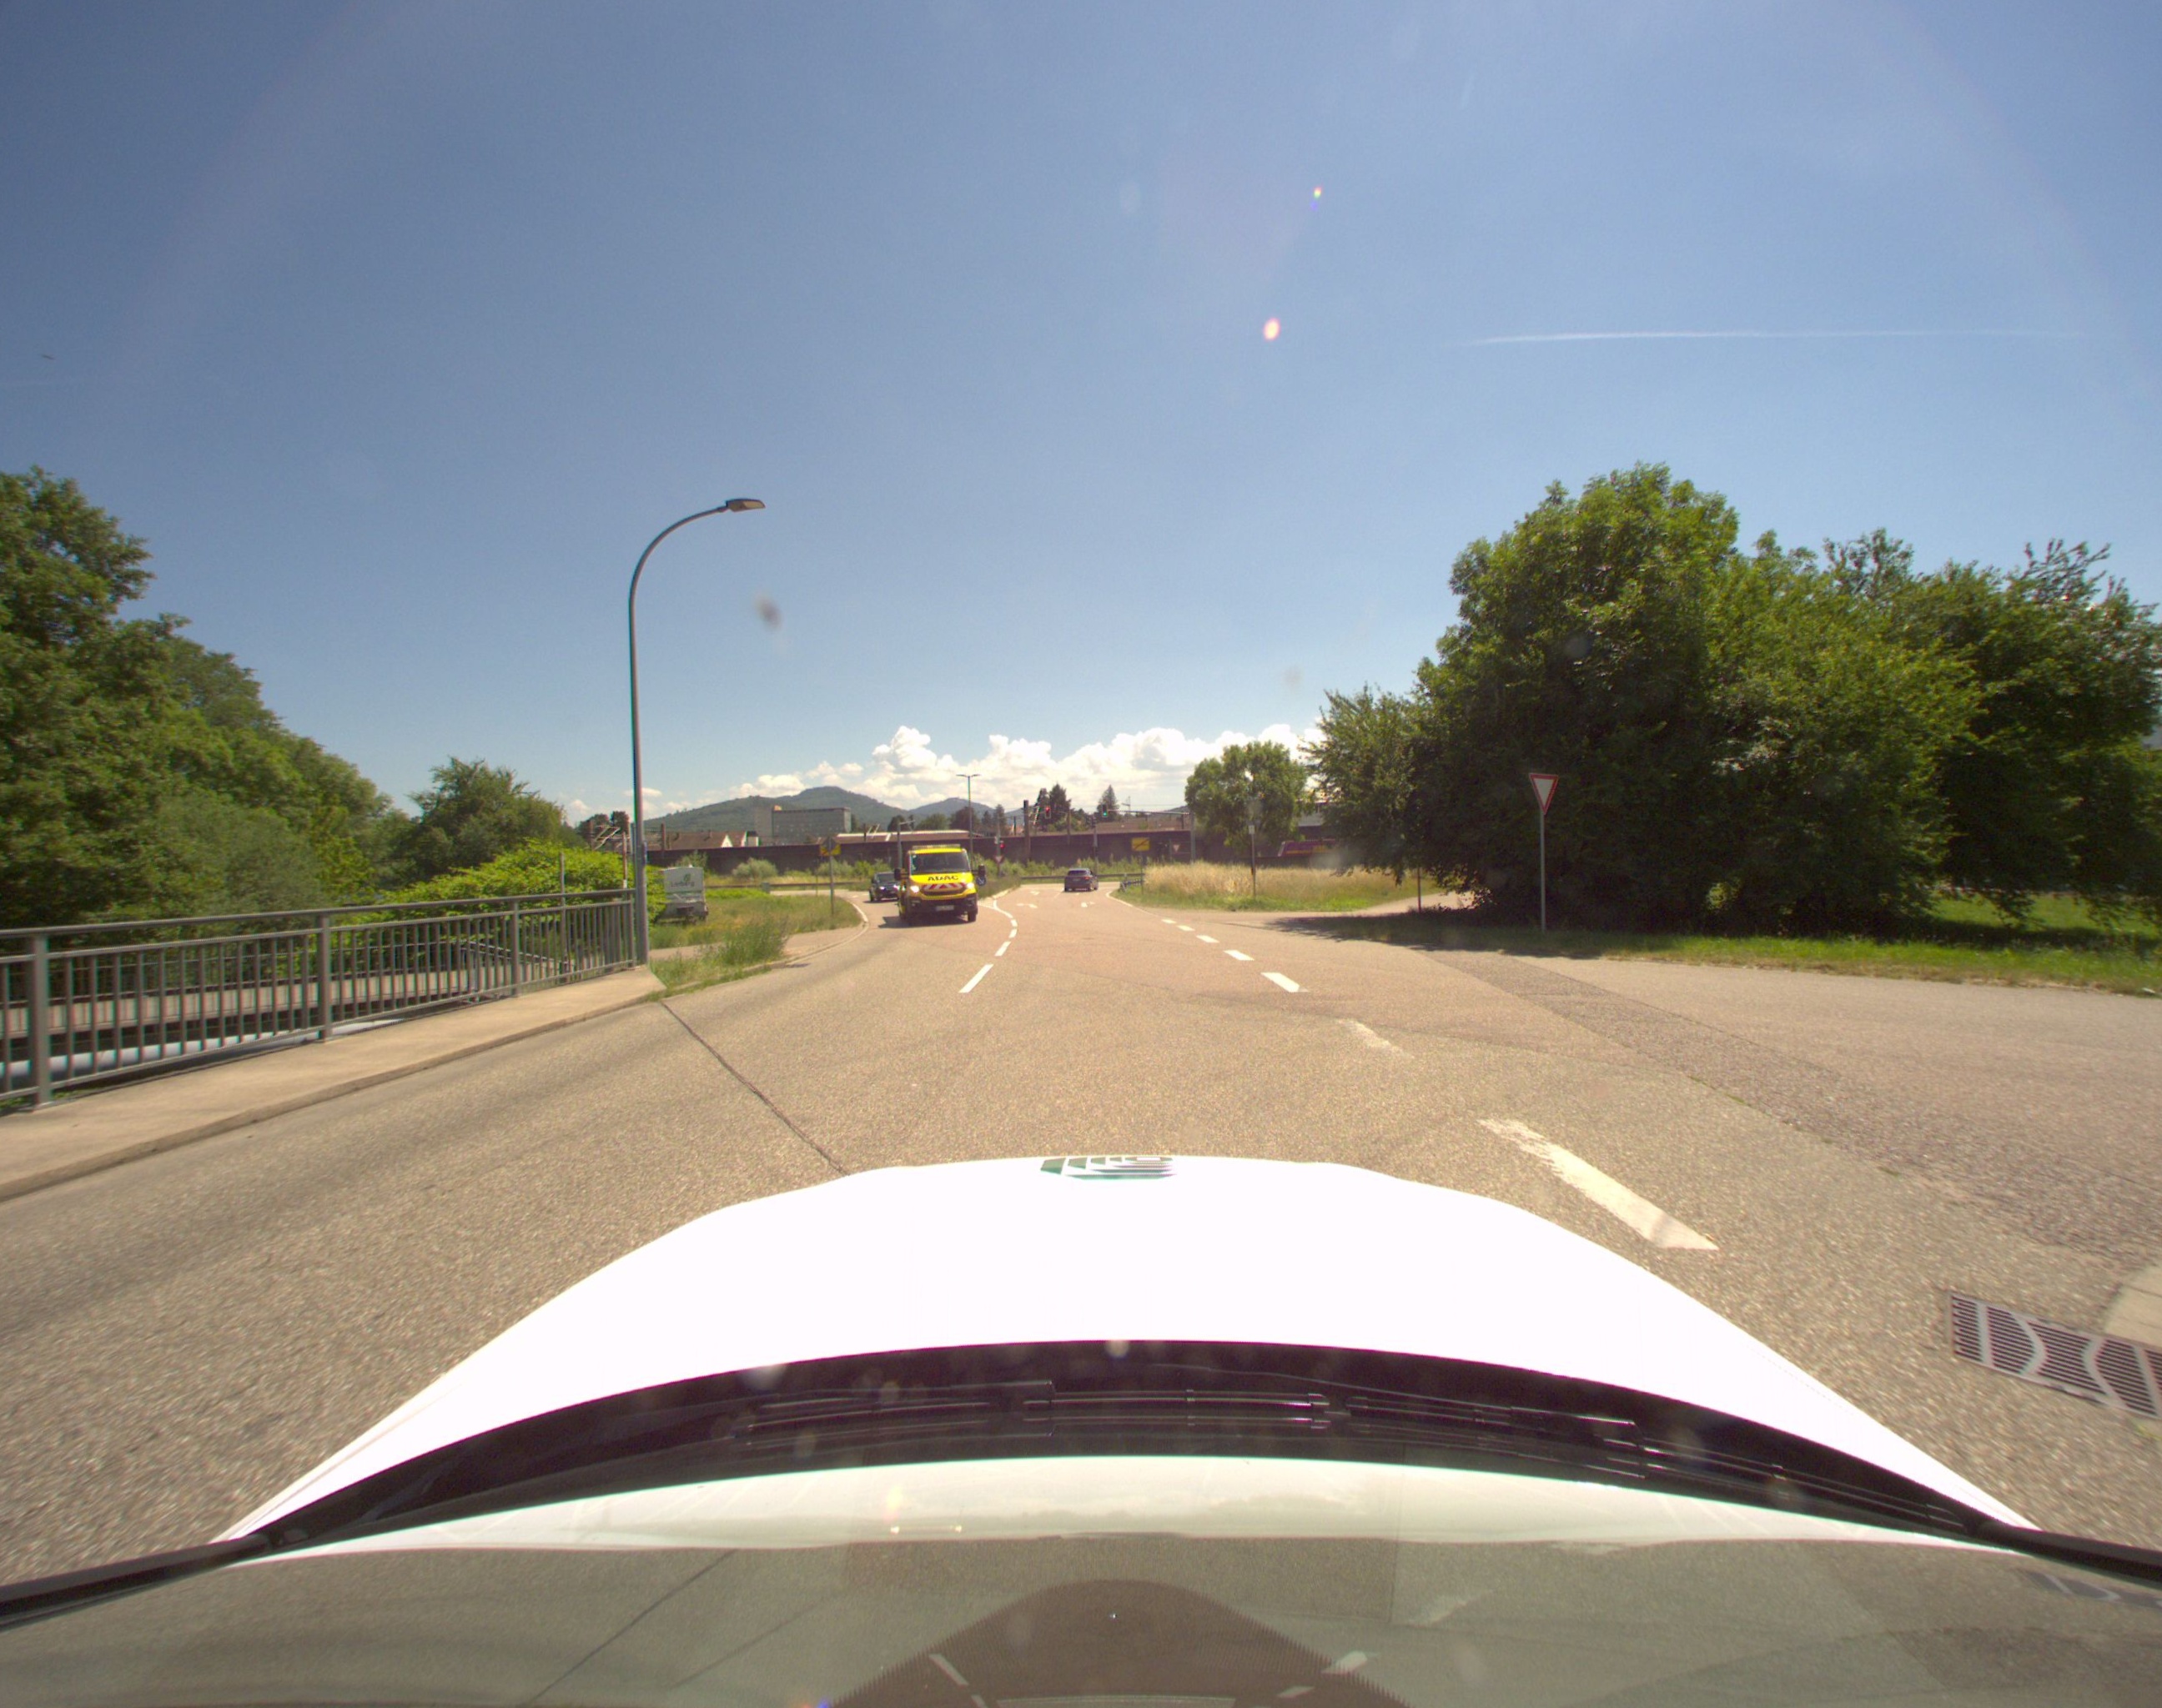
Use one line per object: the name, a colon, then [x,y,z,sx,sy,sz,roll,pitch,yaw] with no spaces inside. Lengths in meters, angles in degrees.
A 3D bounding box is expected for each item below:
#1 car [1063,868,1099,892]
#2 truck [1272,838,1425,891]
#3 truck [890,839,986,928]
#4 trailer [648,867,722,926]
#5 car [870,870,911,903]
car: [0.036,1.733,55.505,1.983,1.503,4.007,0,0,6]
truck: [22.188,0.920,68.140,11.713,4.181,3.009,-1,-1,5]
truck: [-5.002,0.982,27.122,2.315,2.337,9.004,-3,-1,-15]
trailer: [-14.734,1.511,30.196,1.864,2.014,3.916,0,-2,-35]
car: [-10.840,1.783,46.132,1.907,1.702,3.975,0,0,-18]
